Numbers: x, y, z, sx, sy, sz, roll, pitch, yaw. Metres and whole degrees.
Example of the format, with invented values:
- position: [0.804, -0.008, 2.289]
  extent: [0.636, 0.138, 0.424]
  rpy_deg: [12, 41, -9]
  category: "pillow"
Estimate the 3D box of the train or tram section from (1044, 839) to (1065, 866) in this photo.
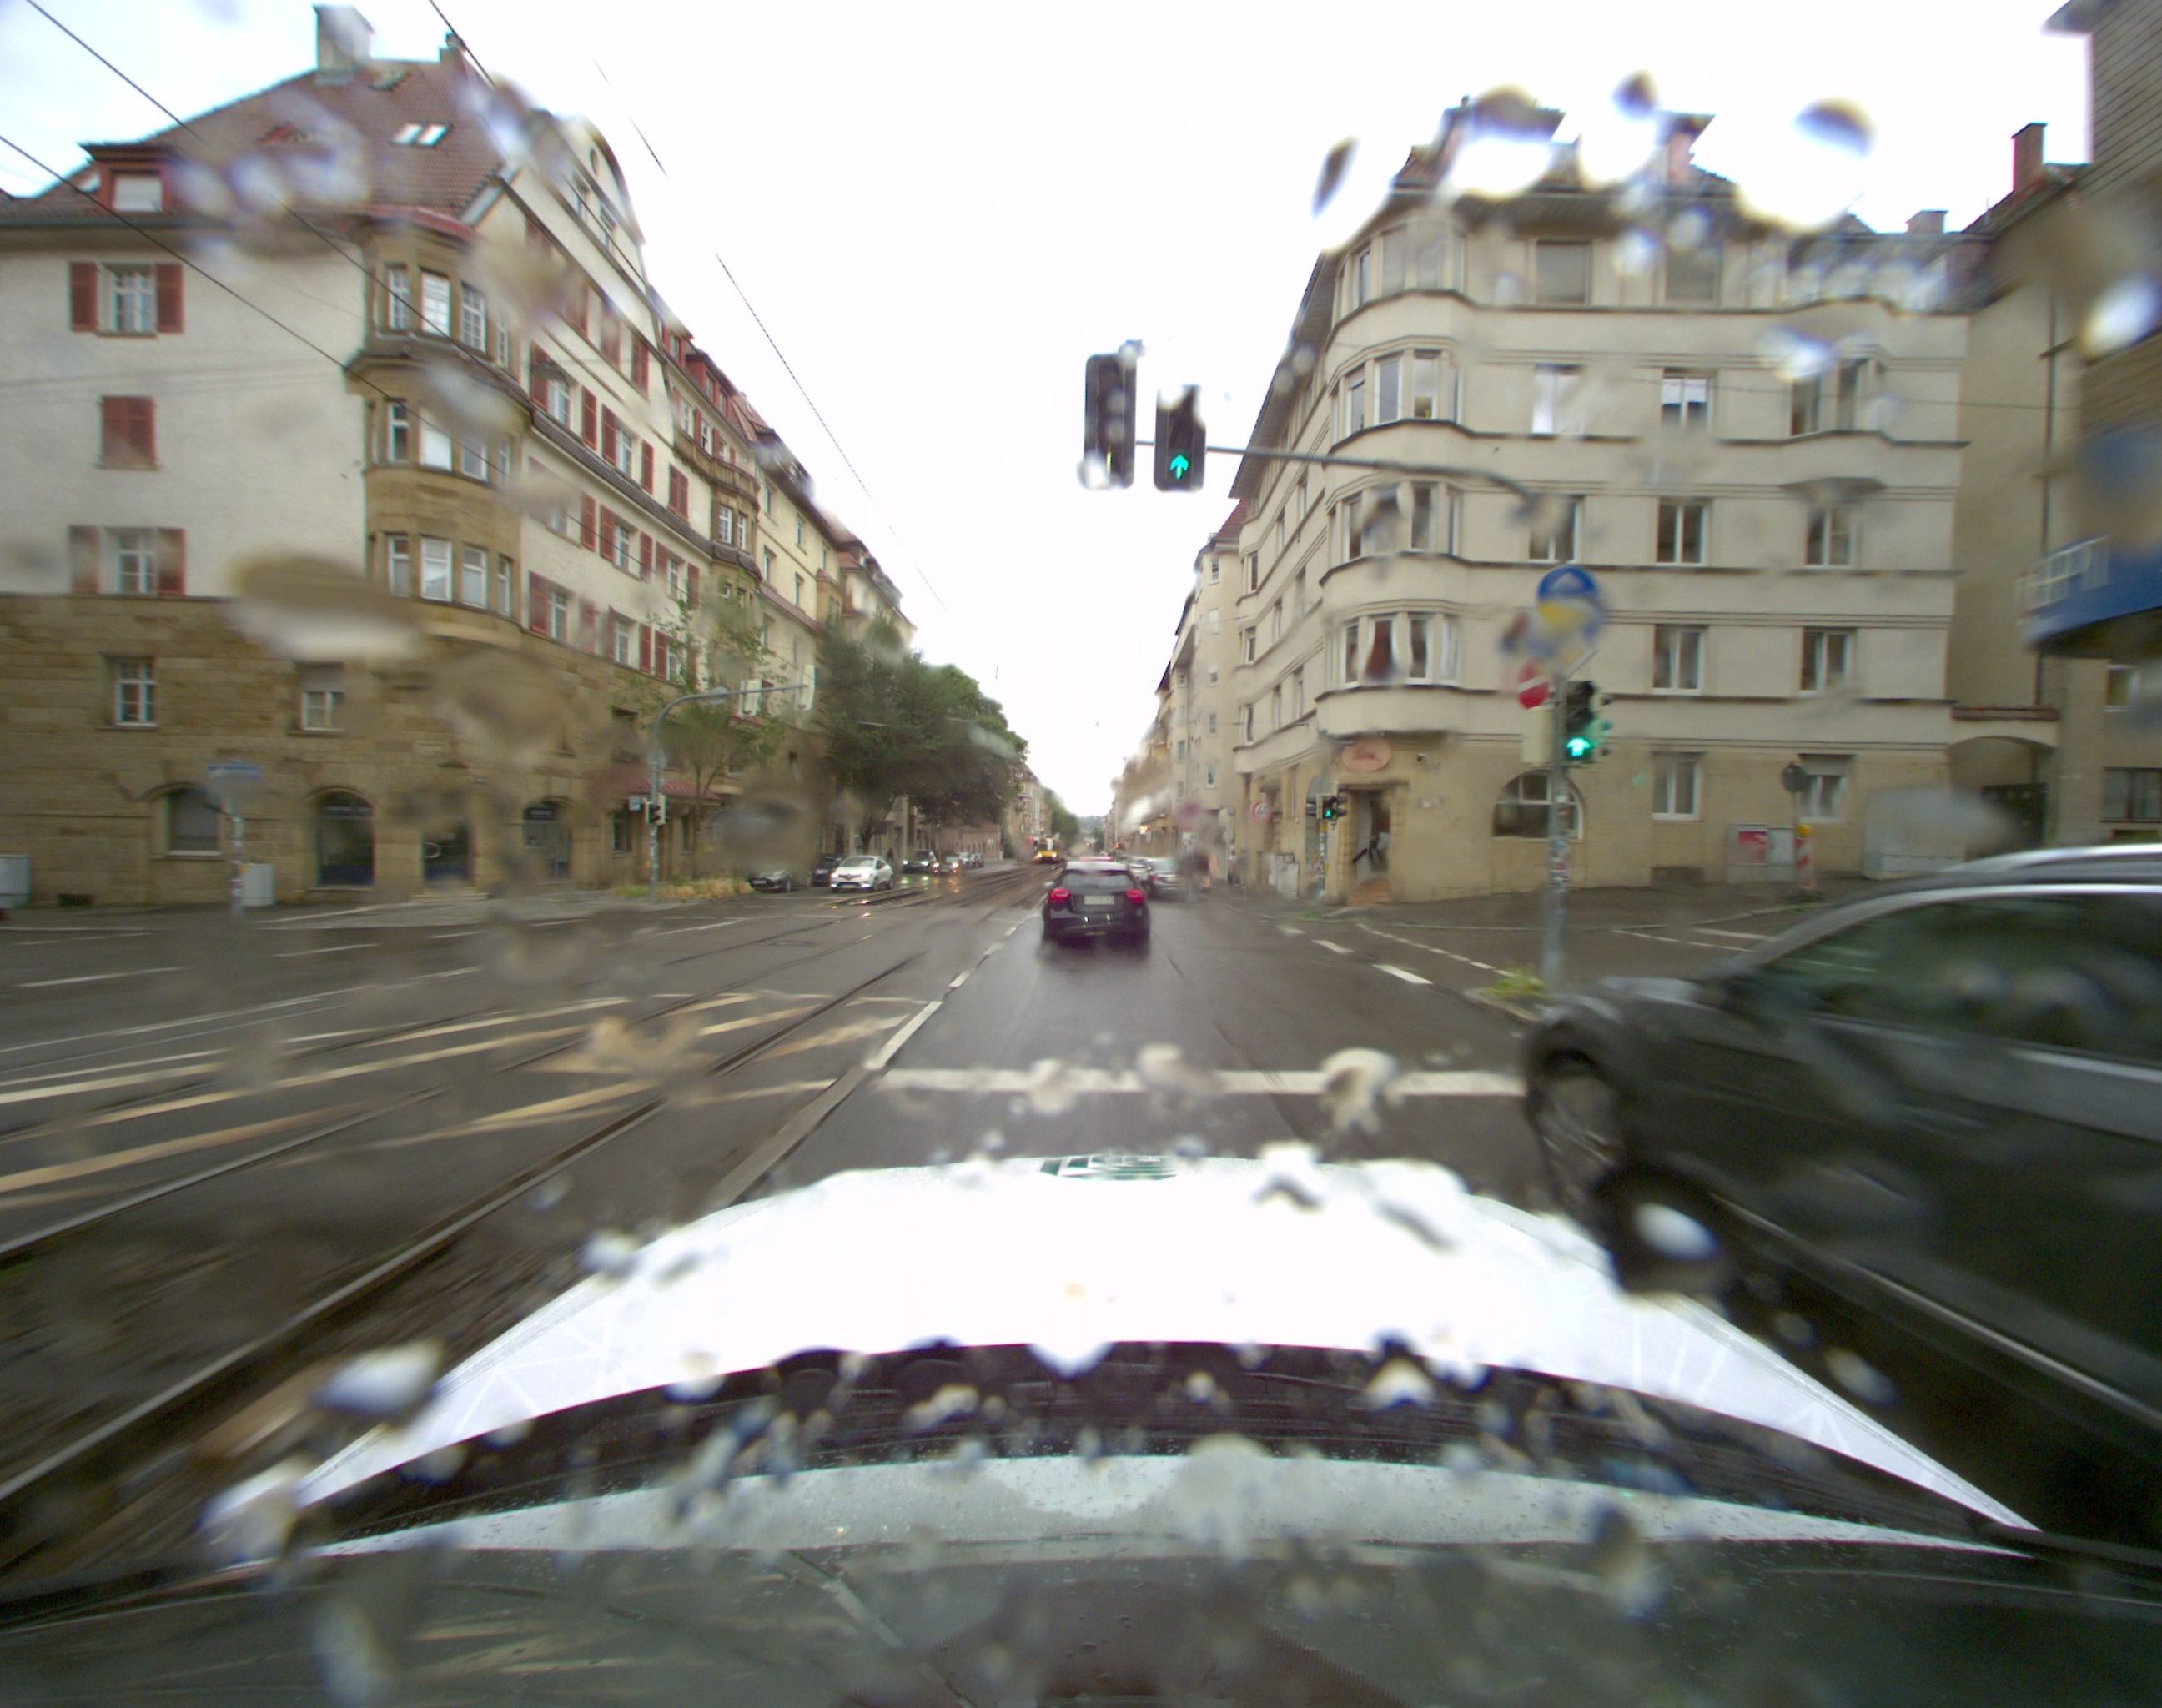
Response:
- position: [-4.095, -0.195, 128.894]
  extent: [2.736, 4.062, 15.660]
  rpy_deg: [0, 0, 1]
  category: "train or tram section"

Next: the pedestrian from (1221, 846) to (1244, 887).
- position: [6.246, 0.505, 33.623]
  extent: [0.801, 1.687, 0.754]
  rpy_deg: [0, -1, 0]
  category: "pedestrian"

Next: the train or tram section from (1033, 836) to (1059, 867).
- position: [-4.682, -0.308, 112.466]
  extent: [2.736, 4.062, 17.213]
  rpy_deg: [0, 0, 1]
  category: "train or tram section"

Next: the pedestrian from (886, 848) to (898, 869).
- position: [-14.685, 0.360, 63.373]
  extent: [0.726, 1.663, 0.771]
  rpy_deg: [1, 0, 0]
  category: "pedestrian"

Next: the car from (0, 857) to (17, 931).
- position: [-25.036, 0.845, 16.552]
  extent: [3.977, 1.574, 1.998]
  rpy_deg: [0, -1, -3]
  category: "car"

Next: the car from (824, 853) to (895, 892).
- position: [-8.922, 0.744, 33.175]
  extent: [1.775, 1.503, 4.061]
  rpy_deg: [0, -1, 0]
  category: "car"

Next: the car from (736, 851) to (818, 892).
- position: [-11.889, 0.673, 32.129]
  extent: [1.684, 1.529, 4.174]
  rpy_deg: [0, -1, 0]
  category: "car"

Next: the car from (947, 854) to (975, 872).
- position: [-11.132, 0.816, 75.908]
  extent: [1.955, 1.605, 4.328]
  rpy_deg: [1, 0, 0]
  category: "car"

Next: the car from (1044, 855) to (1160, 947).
- position: [0.376, 0.757, 14.825]
  extent: [1.828, 1.453, 3.902]
  rpy_deg: [0, -1, 1]
  category: "car"

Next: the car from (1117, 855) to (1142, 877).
- position: [3.614, 0.898, 60.820]
  extent: [1.833, 1.608, 4.764]
  rpy_deg: [0, -1, 3]
  category: "car"

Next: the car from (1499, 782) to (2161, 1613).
- position: [2.967, 0.658, 2.052]
  extent: [1.861, 1.549, 3.992]
  rpy_deg: [1, -1, 1]
  category: "car"

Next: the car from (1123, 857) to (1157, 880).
- position: [3.779, 0.930, 52.893]
  extent: [1.827, 1.468, 4.373]
  rpy_deg: [0, -1, -1]
  category: "car"

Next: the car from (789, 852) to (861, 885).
- position: [-11.731, 0.665, 37.685]
  extent: [1.775, 1.460, 4.977]
  rpy_deg: [0, -1, 0]
  category: "car"

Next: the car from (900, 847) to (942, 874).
- position: [-11.456, 0.421, 58.641]
  extent: [1.947, 1.742, 4.778]
  rpy_deg: [3, 0, 0]
  category: "car"

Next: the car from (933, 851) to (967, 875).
- position: [-8.592, 0.589, 53.828]
  extent: [1.648, 1.463, 3.733]
  rpy_deg: [-1, 0, 0]
  category: "car"

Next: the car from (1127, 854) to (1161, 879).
- position: [3.681, 0.751, 48.227]
  extent: [1.783, 1.386, 4.395]
  rpy_deg: [0, -1, 1]
  category: "car"

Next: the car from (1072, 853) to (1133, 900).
- position: [0.775, 0.751, 29.152]
  extent: [1.986, 1.525, 4.246]
  rpy_deg: [1, -1, 1]
  category: "car"

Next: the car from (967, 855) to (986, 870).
- position: [-10.865, 0.866, 84.645]
  extent: [1.567, 1.467, 3.044]
  rpy_deg: [1, 0, 0]
  category: "car"

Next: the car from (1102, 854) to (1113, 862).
- position: [5.220, 0.715, 159.729]
  extent: [1.879, 1.525, 4.248]
  rpy_deg: [1, -1, 3]
  category: "car"

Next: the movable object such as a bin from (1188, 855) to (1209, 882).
- position: [6.620, 0.812, 45.975]
  extent: [0.976, 1.468, 1.272]
  rpy_deg: [0, -1, 1]
  category: "movable object such as a bin"

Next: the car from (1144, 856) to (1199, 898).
- position: [3.237, 0.802, 29.796]
  extent: [1.704, 1.410, 4.820]
  rpy_deg: [0, -1, 3]
  category: "car"

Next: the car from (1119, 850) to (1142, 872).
- position: [4.005, 0.616, 66.883]
  extent: [1.771, 1.750, 4.550]
  rpy_deg: [0, -1, 2]
  category: "car"

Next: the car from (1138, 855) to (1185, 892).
- position: [3.399, 0.825, 35.163]
  extent: [1.706, 1.468, 4.775]
  rpy_deg: [0, -1, 1]
  category: "car"
